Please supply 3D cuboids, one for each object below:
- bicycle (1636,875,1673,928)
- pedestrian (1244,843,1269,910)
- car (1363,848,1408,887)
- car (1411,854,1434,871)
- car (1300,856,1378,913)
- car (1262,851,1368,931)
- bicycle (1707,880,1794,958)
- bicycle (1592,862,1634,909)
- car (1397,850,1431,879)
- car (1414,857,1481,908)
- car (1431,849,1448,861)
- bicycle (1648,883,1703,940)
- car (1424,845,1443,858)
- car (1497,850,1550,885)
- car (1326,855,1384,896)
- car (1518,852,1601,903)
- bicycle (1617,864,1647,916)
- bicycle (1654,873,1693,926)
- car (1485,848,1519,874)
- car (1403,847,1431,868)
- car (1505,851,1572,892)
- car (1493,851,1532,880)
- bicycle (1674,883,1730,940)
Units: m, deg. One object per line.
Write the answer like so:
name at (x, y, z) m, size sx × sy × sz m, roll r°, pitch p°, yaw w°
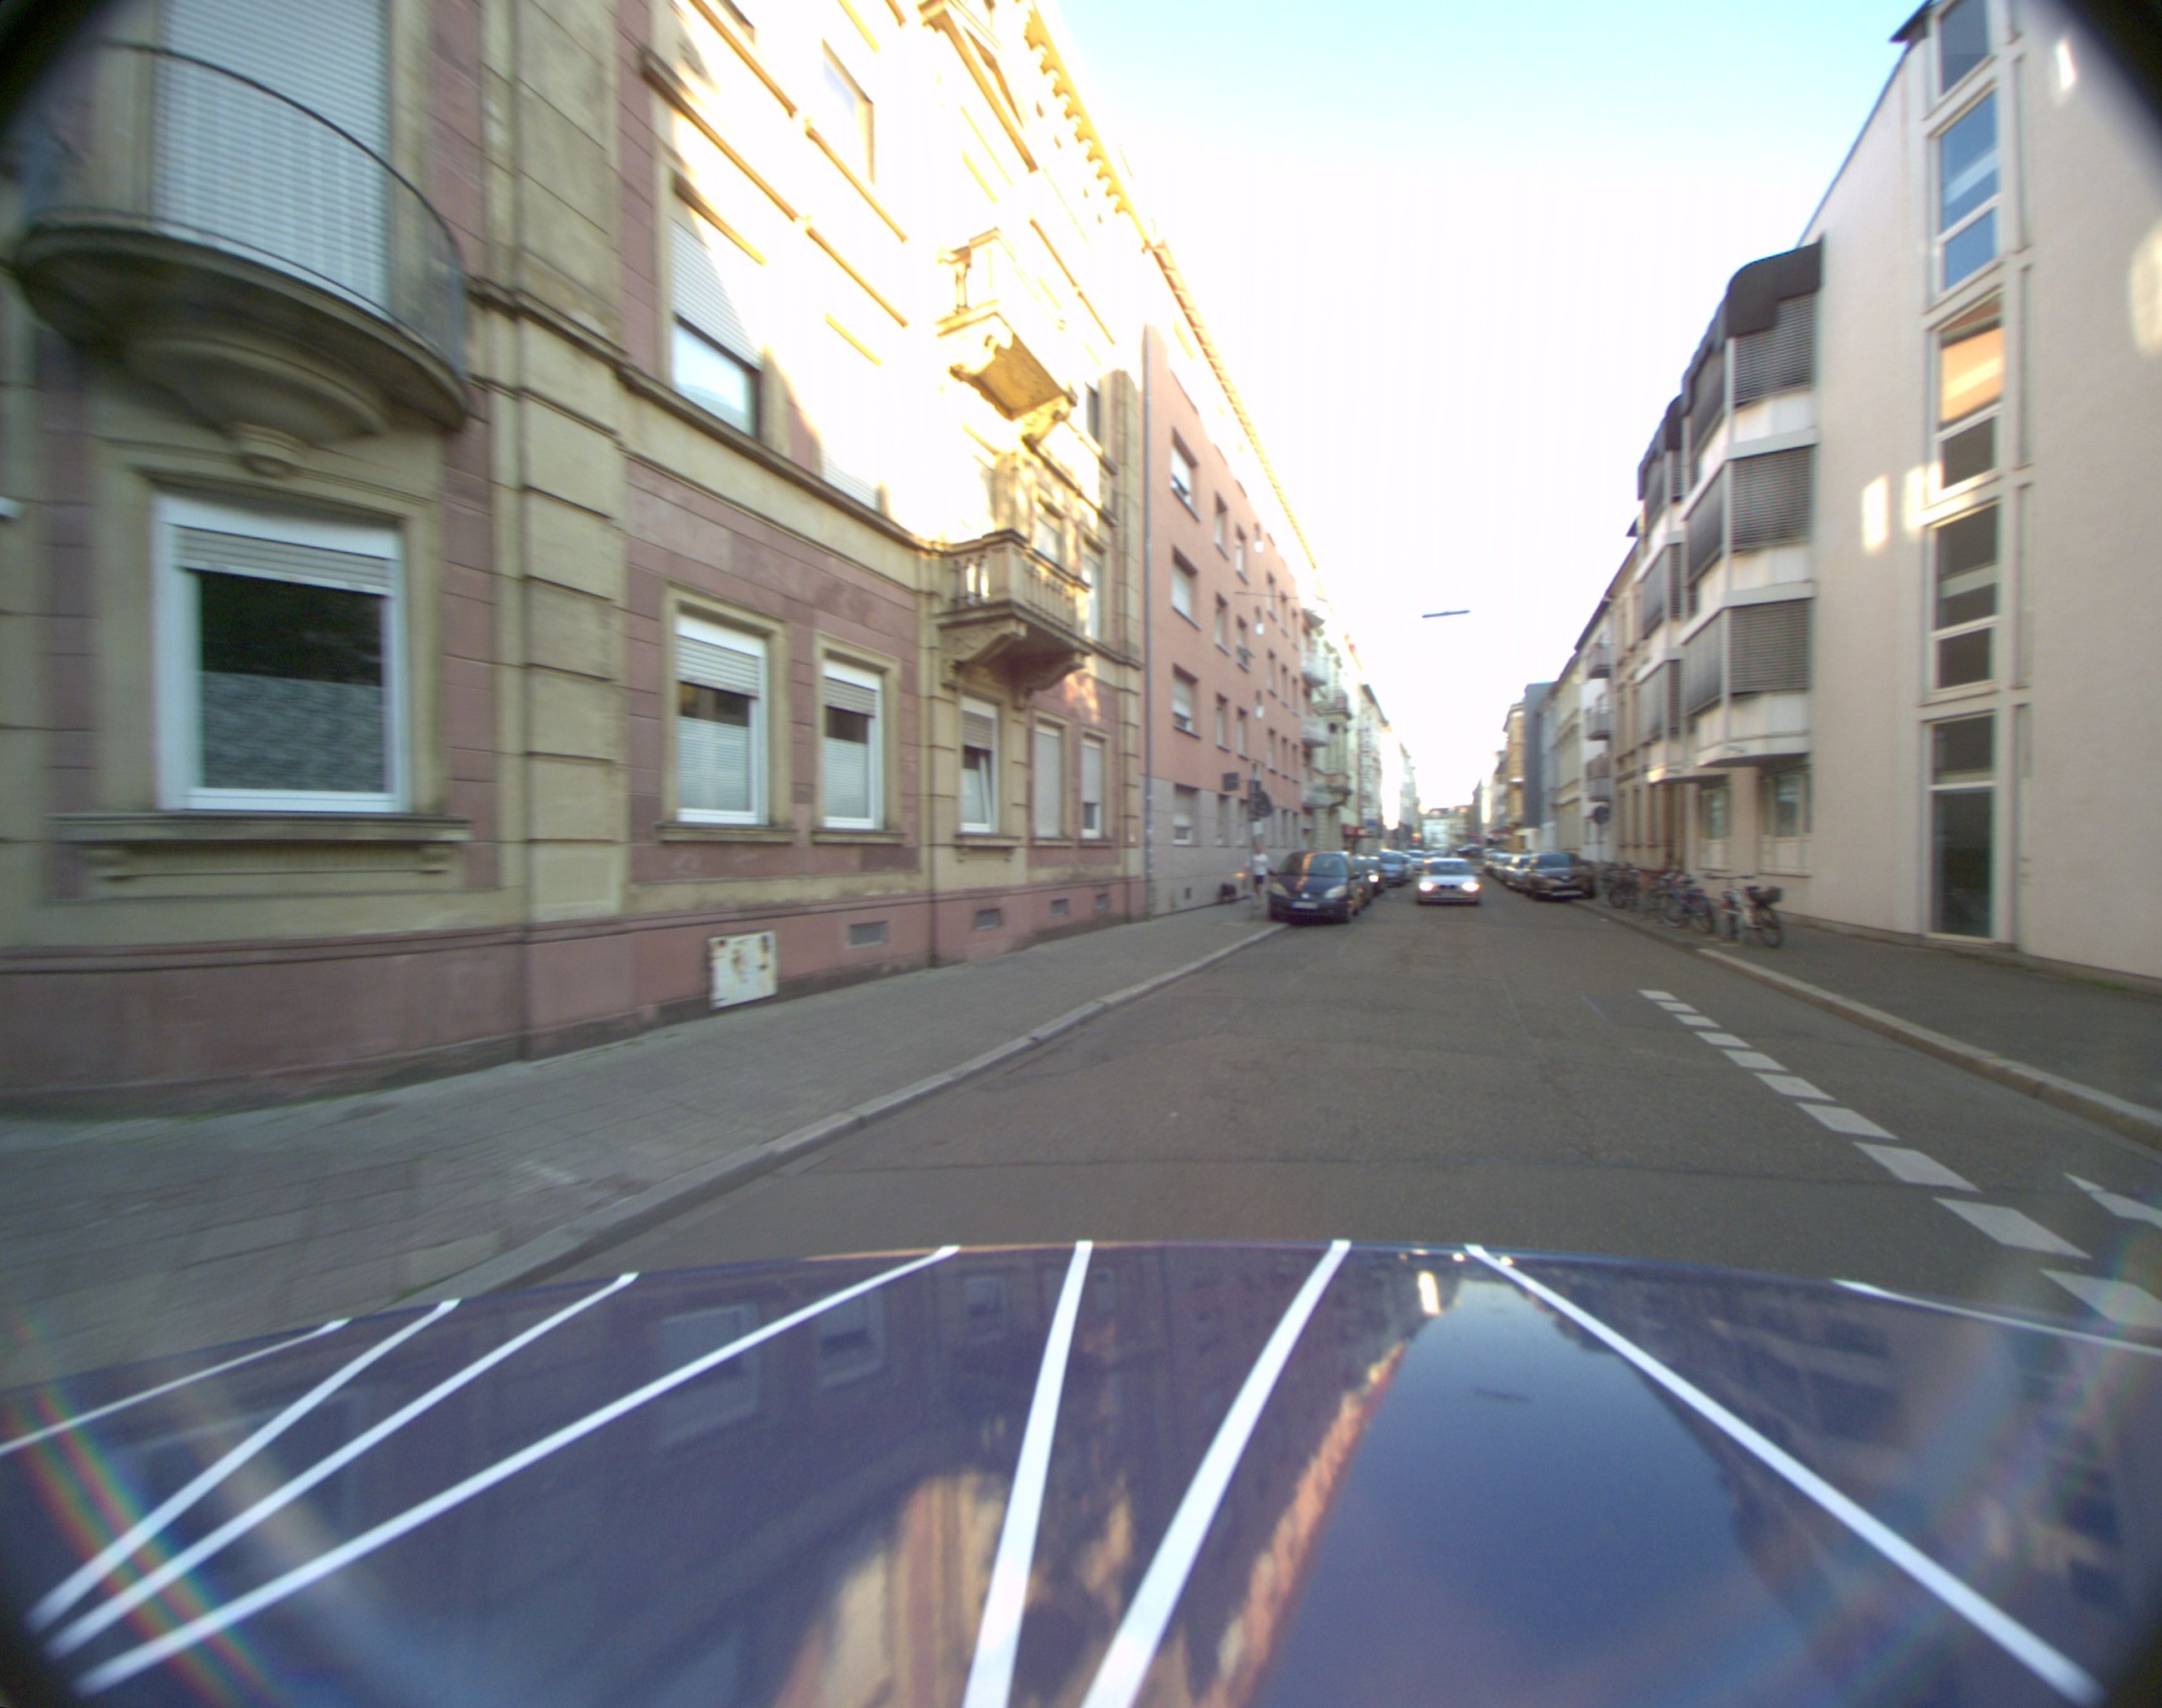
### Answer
bicycle at (12.421, 1.004, 16.474) m, size 0.307 × 1.036 × 1.816 m, roll -1°, pitch 0°, yaw 27°
pedestrian at (4.674, 0.593, 20.207) m, size 0.549 × 1.733 × 0.569 m, roll 0°, pitch 0°, yaw 25°
car at (14.552, 0.589, 36.156) m, size 1.691 × 1.731 × 4.116 m, roll -1°, pitch 0°, yaw 26°
car at (30.950, 0.745, 68.847) m, size 1.726 × 1.469 × 3.983 m, roll -1°, pitch 0°, yaw 27°
car at (7.787, 0.836, 22.703) m, size 1.691 × 1.505 × 4.290 m, roll -1°, pitch 0°, yaw 26°
car at (5.574, 0.768, 17.763) m, size 1.691 × 1.615 × 4.062 m, roll -1°, pitch 0°, yaw 27°
bicycle at (10.624, 0.988, 12.116) m, size 0.400 × 1.096 × 1.816 m, roll -1°, pitch 0°, yaw 20°
bicycle at (14.544, 0.844, 20.818) m, size 0.596 × 1.180 × 2.269 m, roll -1°, pitch 0°, yaw 27°
car at (18.380, 0.554, 41.921) m, size 1.571 × 1.569 × 3.596 m, roll -1°, pitch 0°, yaw 26°
car at (11.502, 0.845, 23.854) m, size 1.678 × 1.395 × 4.479 m, roll -2°, pitch 0°, yaw 26°
car at (43.470, 0.145, 92.102) m, size 1.726 × 1.391 × 3.899 m, roll -1°, pitch 0°, yaw 27°
bicycle at (11.234, 1.058, 14.398) m, size 0.307 × 0.926 × 1.816 m, roll -1°, pitch 0°, yaw 22°
car at (39.298, -0.331, 84.661) m, size 1.726 × 1.391 × 3.899 m, roll -1°, pitch 0°, yaw 27°
car at (20.830, 0.579, 35.883) m, size 1.792 × 1.530 × 4.502 m, roll -1°, pitch 0°, yaw 26°
car at (10.703, 0.772, 29.474) m, size 1.691 × 1.449 × 4.139 m, roll -1°, pitch 0°, yaw 26°
car at (16.021, 0.742, 25.641) m, size 1.792 × 1.567 × 4.077 m, roll -1°, pitch 0°, yaw 24°
bicycle at (13.635, 0.867, 18.836) m, size 0.307 × 1.215 × 1.816 m, roll -1°, pitch 0°, yaw 27°
bicycle at (12.699, 0.948, 16.315) m, size 0.307 × 1.036 × 1.816 m, roll -1°, pitch 0°, yaw 27°
car at (28.812, 0.489, 52.090) m, size 1.639 × 1.701 × 3.789 m, roll -1°, pitch 0°, yaw 24°
car at (28.758, 0.269, 64.981) m, size 1.837 × 1.686 × 4.366 m, roll 5°, pitch 2°, yaw 27°
car at (18.506, 0.672, 30.928) m, size 1.792 × 1.530 × 4.441 m, roll -1°, pitch 0°, yaw 24°
car at (23.870, 0.614, 42.130) m, size 1.639 × 1.480 × 3.795 m, roll -1°, pitch 0°, yaw 26°
bicycle at (11.586, 1.042, 14.222) m, size 0.307 × 0.926 × 1.816 m, roll 0°, pitch 0°, yaw 23°
